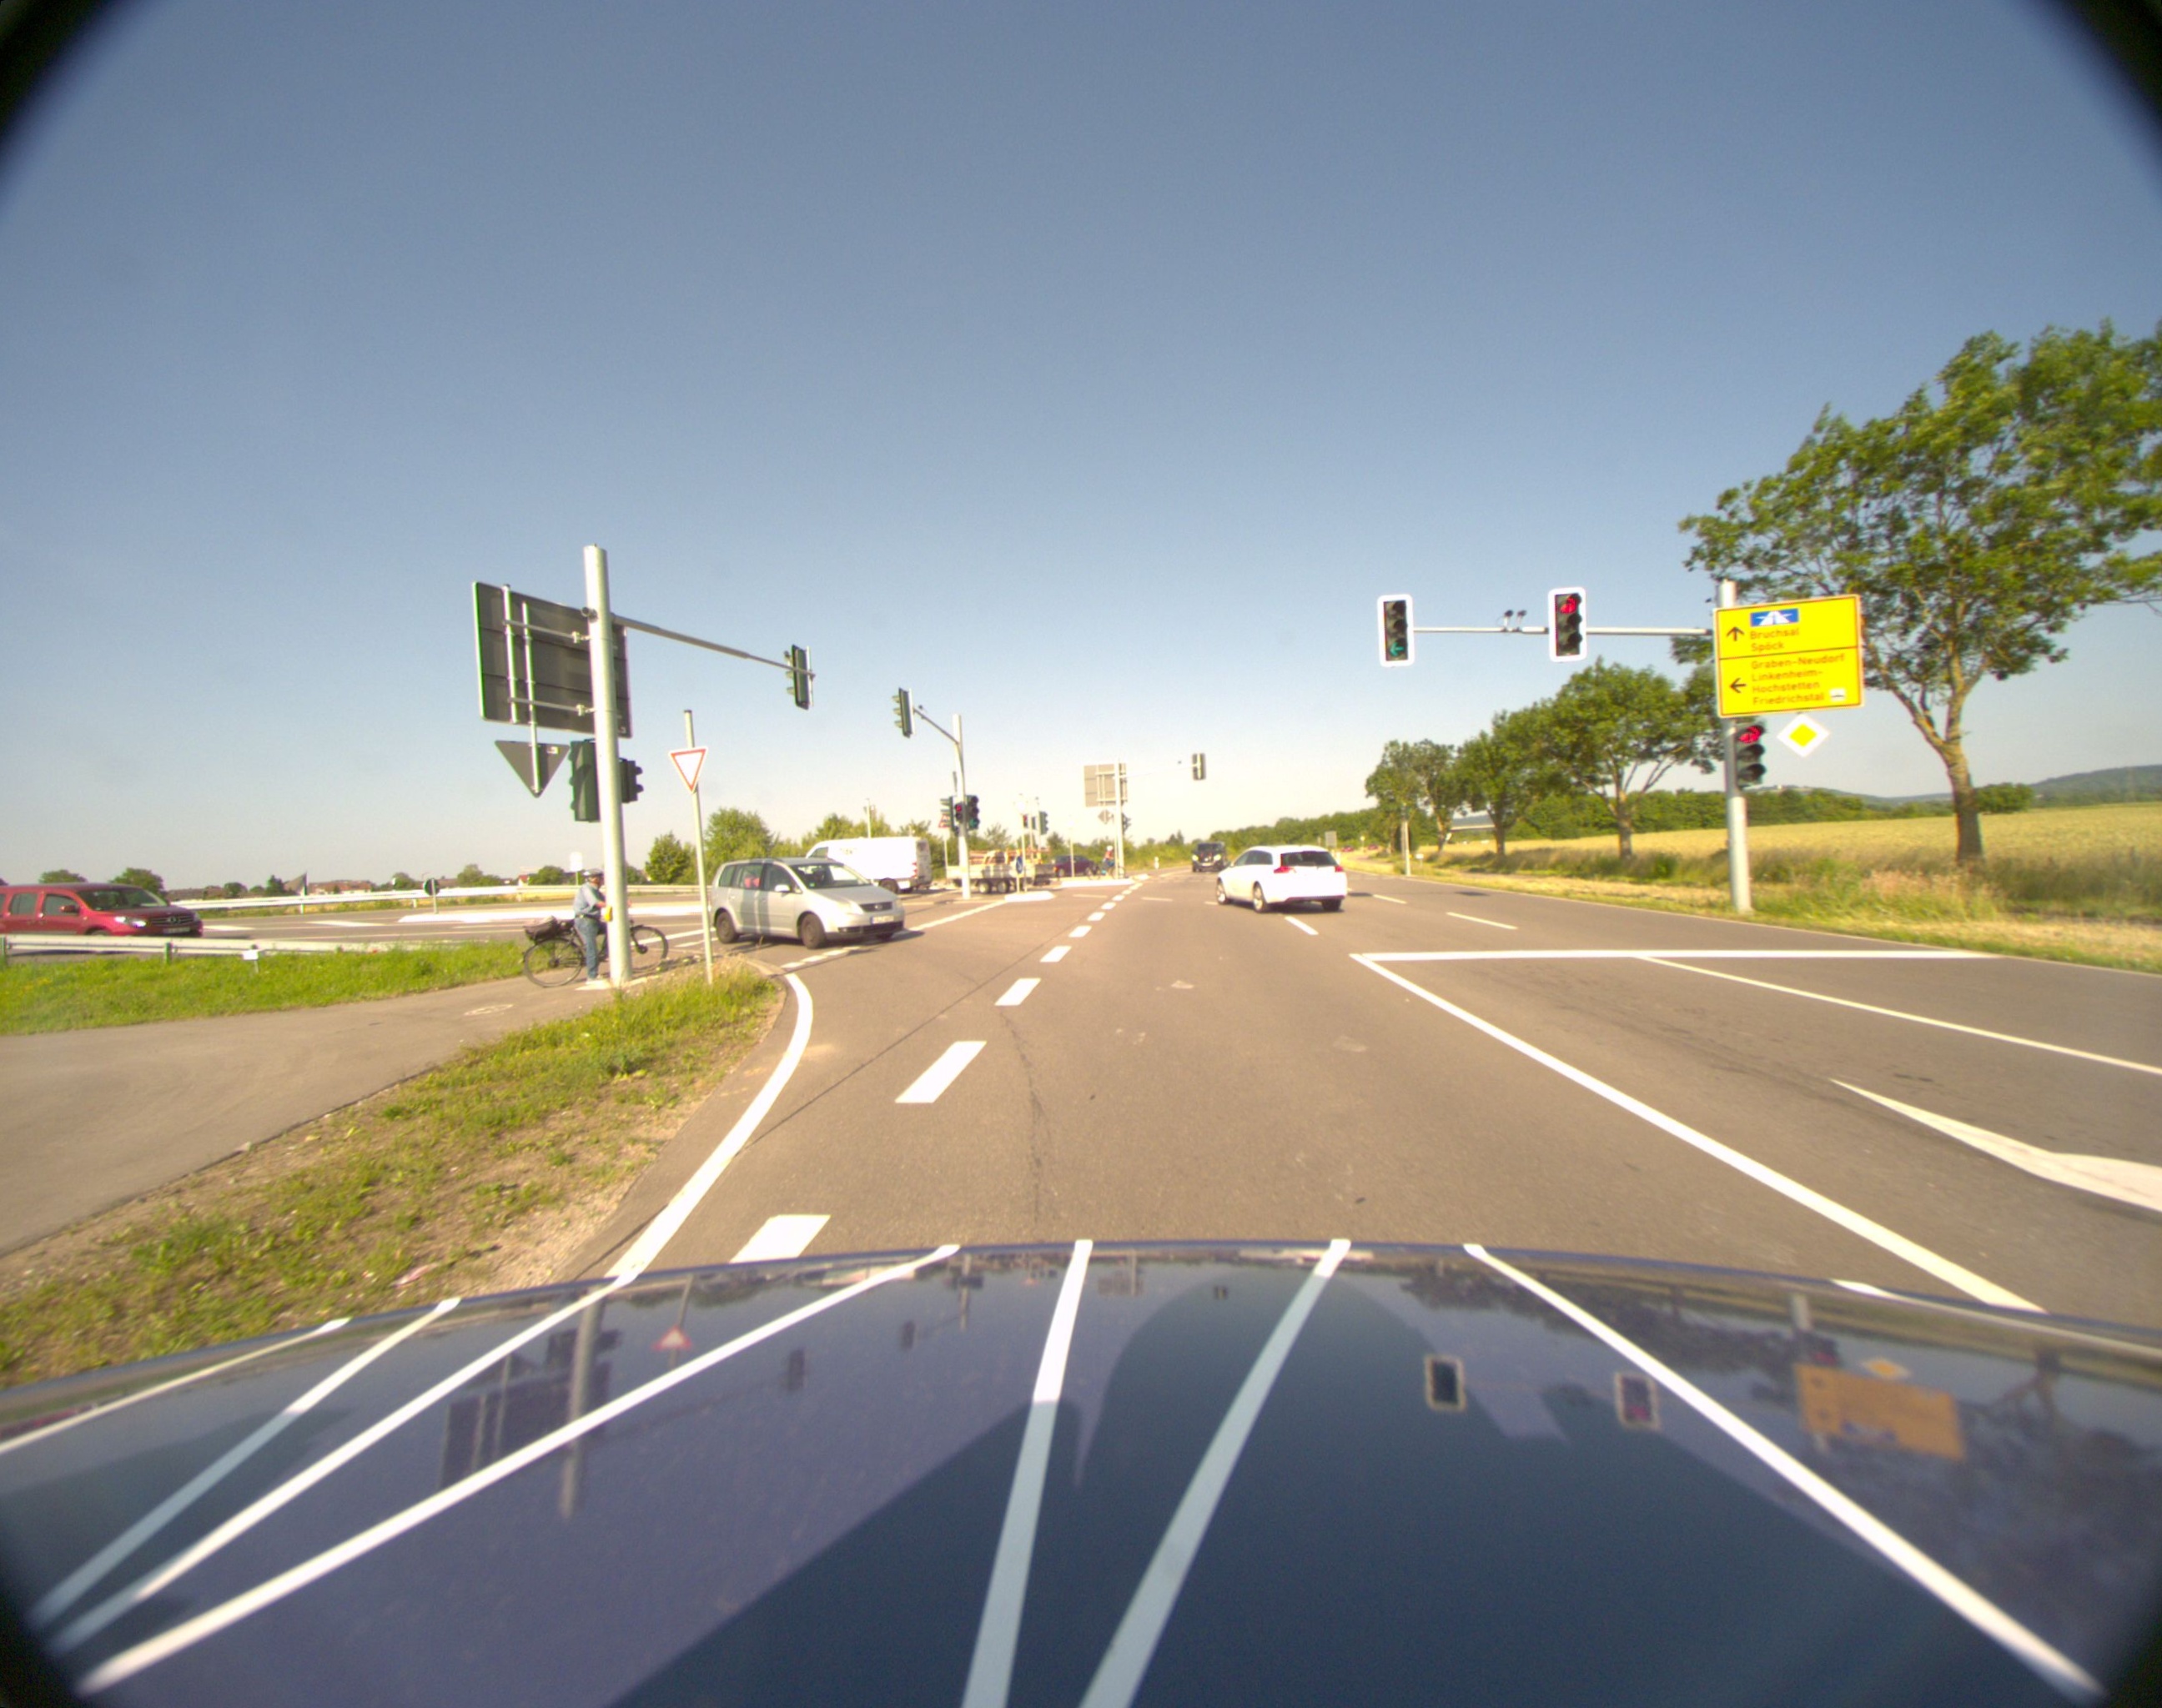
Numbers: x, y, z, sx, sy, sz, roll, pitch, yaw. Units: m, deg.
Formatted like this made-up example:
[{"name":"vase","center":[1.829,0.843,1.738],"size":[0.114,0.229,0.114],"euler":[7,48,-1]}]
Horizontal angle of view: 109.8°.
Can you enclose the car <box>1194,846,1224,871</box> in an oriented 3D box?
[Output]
[{"name":"car","center":[8.628,0.276,51.125],"size":[1.860,1.533,4.003],"euler":[-2,0,10]}]

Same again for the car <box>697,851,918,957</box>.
[{"name":"car","center":[-5.257,0.888,14.428],"size":[4.203,1.685,1.759],"euler":[-2,1,35]}]

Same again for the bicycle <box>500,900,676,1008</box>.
[{"name":"bicycle","center":[-6.995,1.364,10.837],"size":[1.948,1.145,0.679],"euler":[-7,5,-38]}]

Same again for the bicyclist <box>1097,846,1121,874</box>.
[{"name":"bicyclist","center":[1.400,0.301,37.592],"size":[1.072,1.344,0.859],"euler":[-1,2,10]}]

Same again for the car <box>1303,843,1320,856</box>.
[{"name":"car","center":[29.729,-0.551,97.896],"size":[1.886,1.616,4.005],"euler":[0,1,19]}]

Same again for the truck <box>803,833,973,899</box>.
[{"name":"truck","center":[-7.700,0.461,30.553],"size":[6.189,2.391,2.072],"euler":[-2,1,9]}]

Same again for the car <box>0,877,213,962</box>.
[{"name":"car","center":[-25.433,1.666,19.410],"size":[4.694,1.826,1.694],"euler":[-3,1,4]}]

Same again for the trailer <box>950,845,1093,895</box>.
[{"name":"trailer","center":[-2.269,0.594,28.834],"size":[5.000,1.728,1.984],"euler":[-2,1,23]}]

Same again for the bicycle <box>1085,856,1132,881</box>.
[{"name":"bicycle","center":[1.380,0.709,37.557],"size":[2.147,1.143,1.074],"euler":[-1,2,10]}]

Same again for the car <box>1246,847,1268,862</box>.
[{"name":"car","center":[19.732,0.038,85.076],"size":[1.858,1.533,4.006],"euler":[-2,0,21]}]

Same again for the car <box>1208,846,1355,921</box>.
[{"name":"car","center":[4.550,0.608,18.046],"size":[1.765,1.483,4.705],"euler":[-2,0,-6]}]

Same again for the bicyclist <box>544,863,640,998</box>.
[{"name":"bicyclist","center":[-6.981,1.052,10.854],"size":[0.919,1.756,0.618],"euler":[-7,5,-38]}]

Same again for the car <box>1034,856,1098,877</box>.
[{"name":"car","center":[-0.850,0.752,45.760],"size":[1.735,1.106,4.008],"euler":[-1,1,37]}]

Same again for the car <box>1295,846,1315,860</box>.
[{"name":"car","center":[22.479,-0.099,76.308],"size":[1.631,1.369,4.426],"euler":[0,1,12]}]
